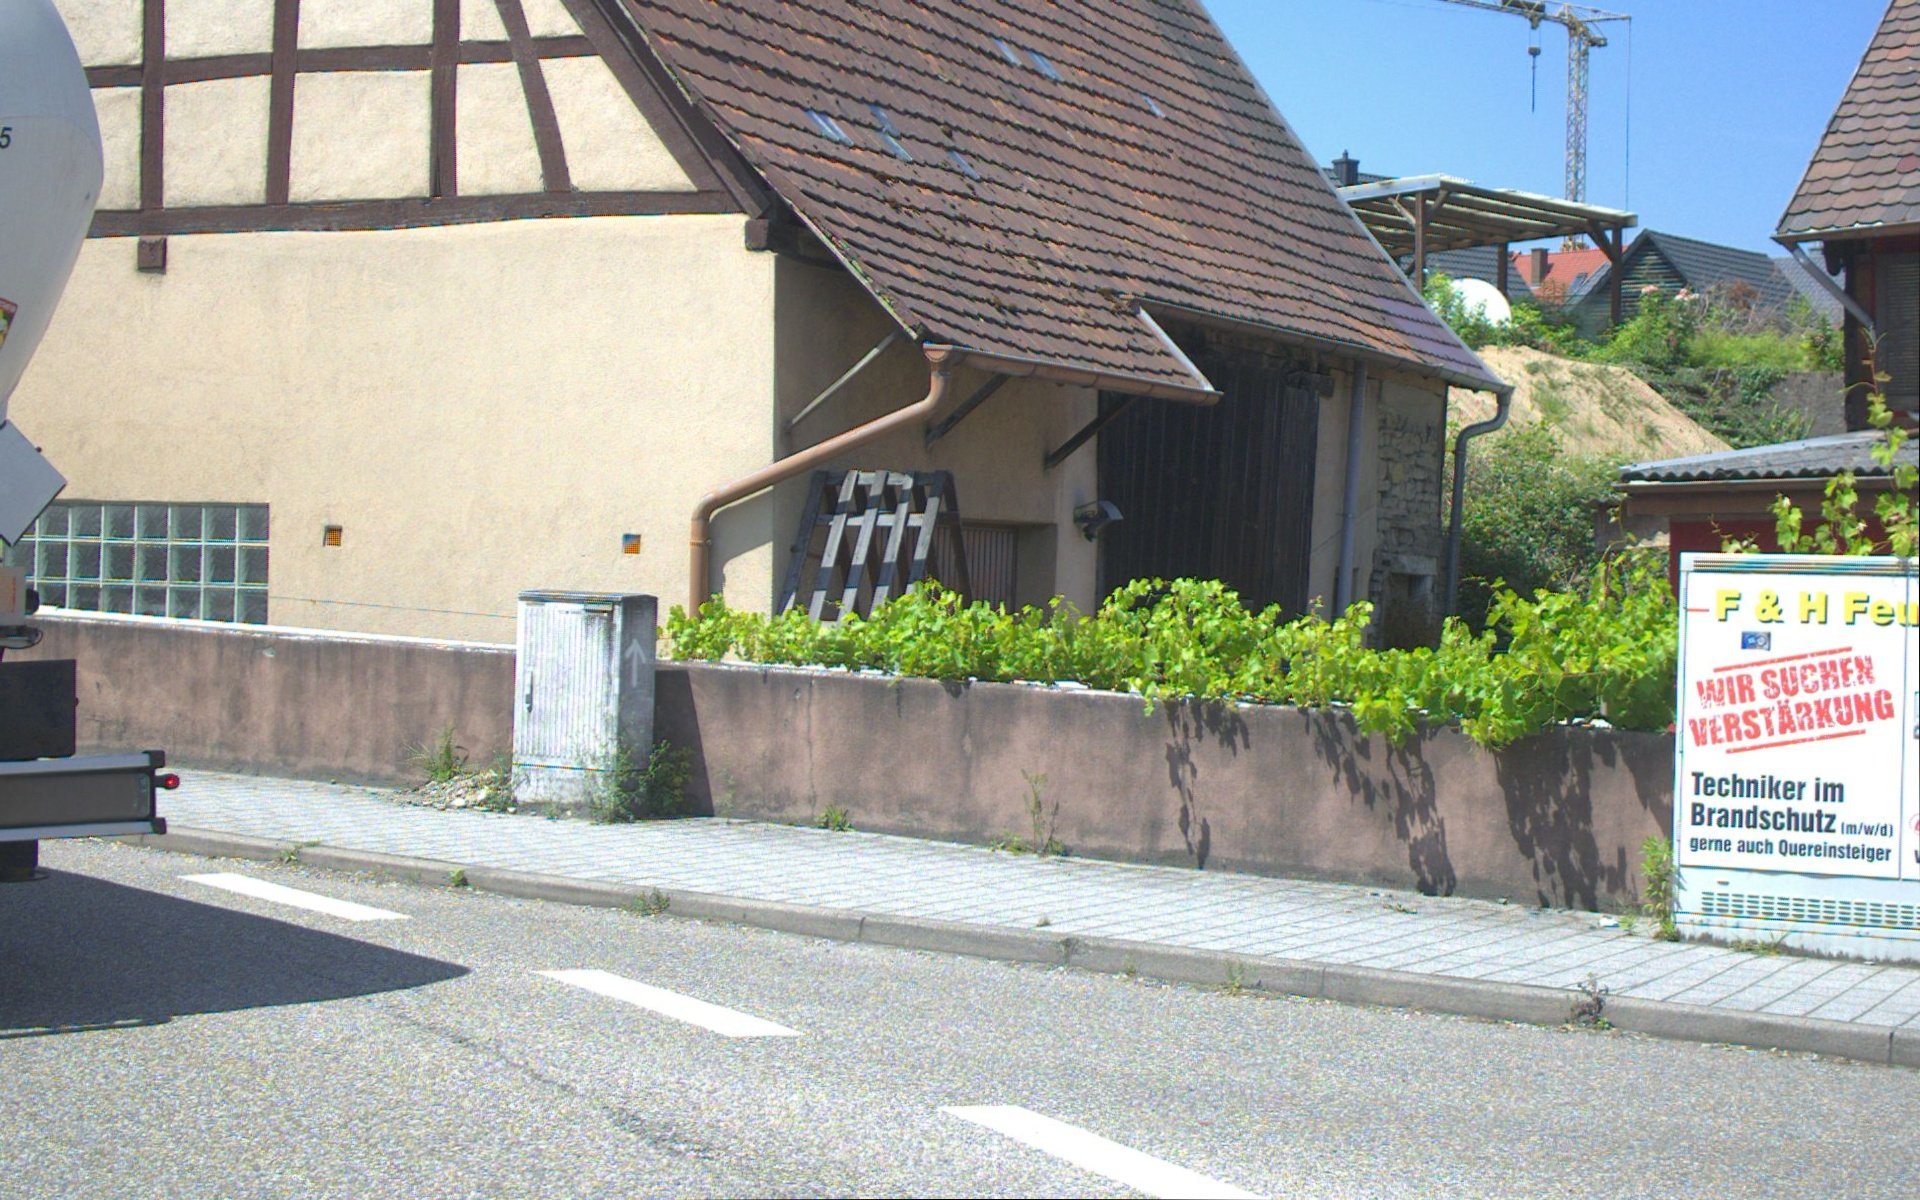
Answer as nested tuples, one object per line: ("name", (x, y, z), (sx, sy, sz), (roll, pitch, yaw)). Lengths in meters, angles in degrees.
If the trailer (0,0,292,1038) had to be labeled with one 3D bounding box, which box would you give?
("trailer", (-6.936, -0.900, 14.301), (2.953, 3.934, 11.616), (2, 1, -39))
